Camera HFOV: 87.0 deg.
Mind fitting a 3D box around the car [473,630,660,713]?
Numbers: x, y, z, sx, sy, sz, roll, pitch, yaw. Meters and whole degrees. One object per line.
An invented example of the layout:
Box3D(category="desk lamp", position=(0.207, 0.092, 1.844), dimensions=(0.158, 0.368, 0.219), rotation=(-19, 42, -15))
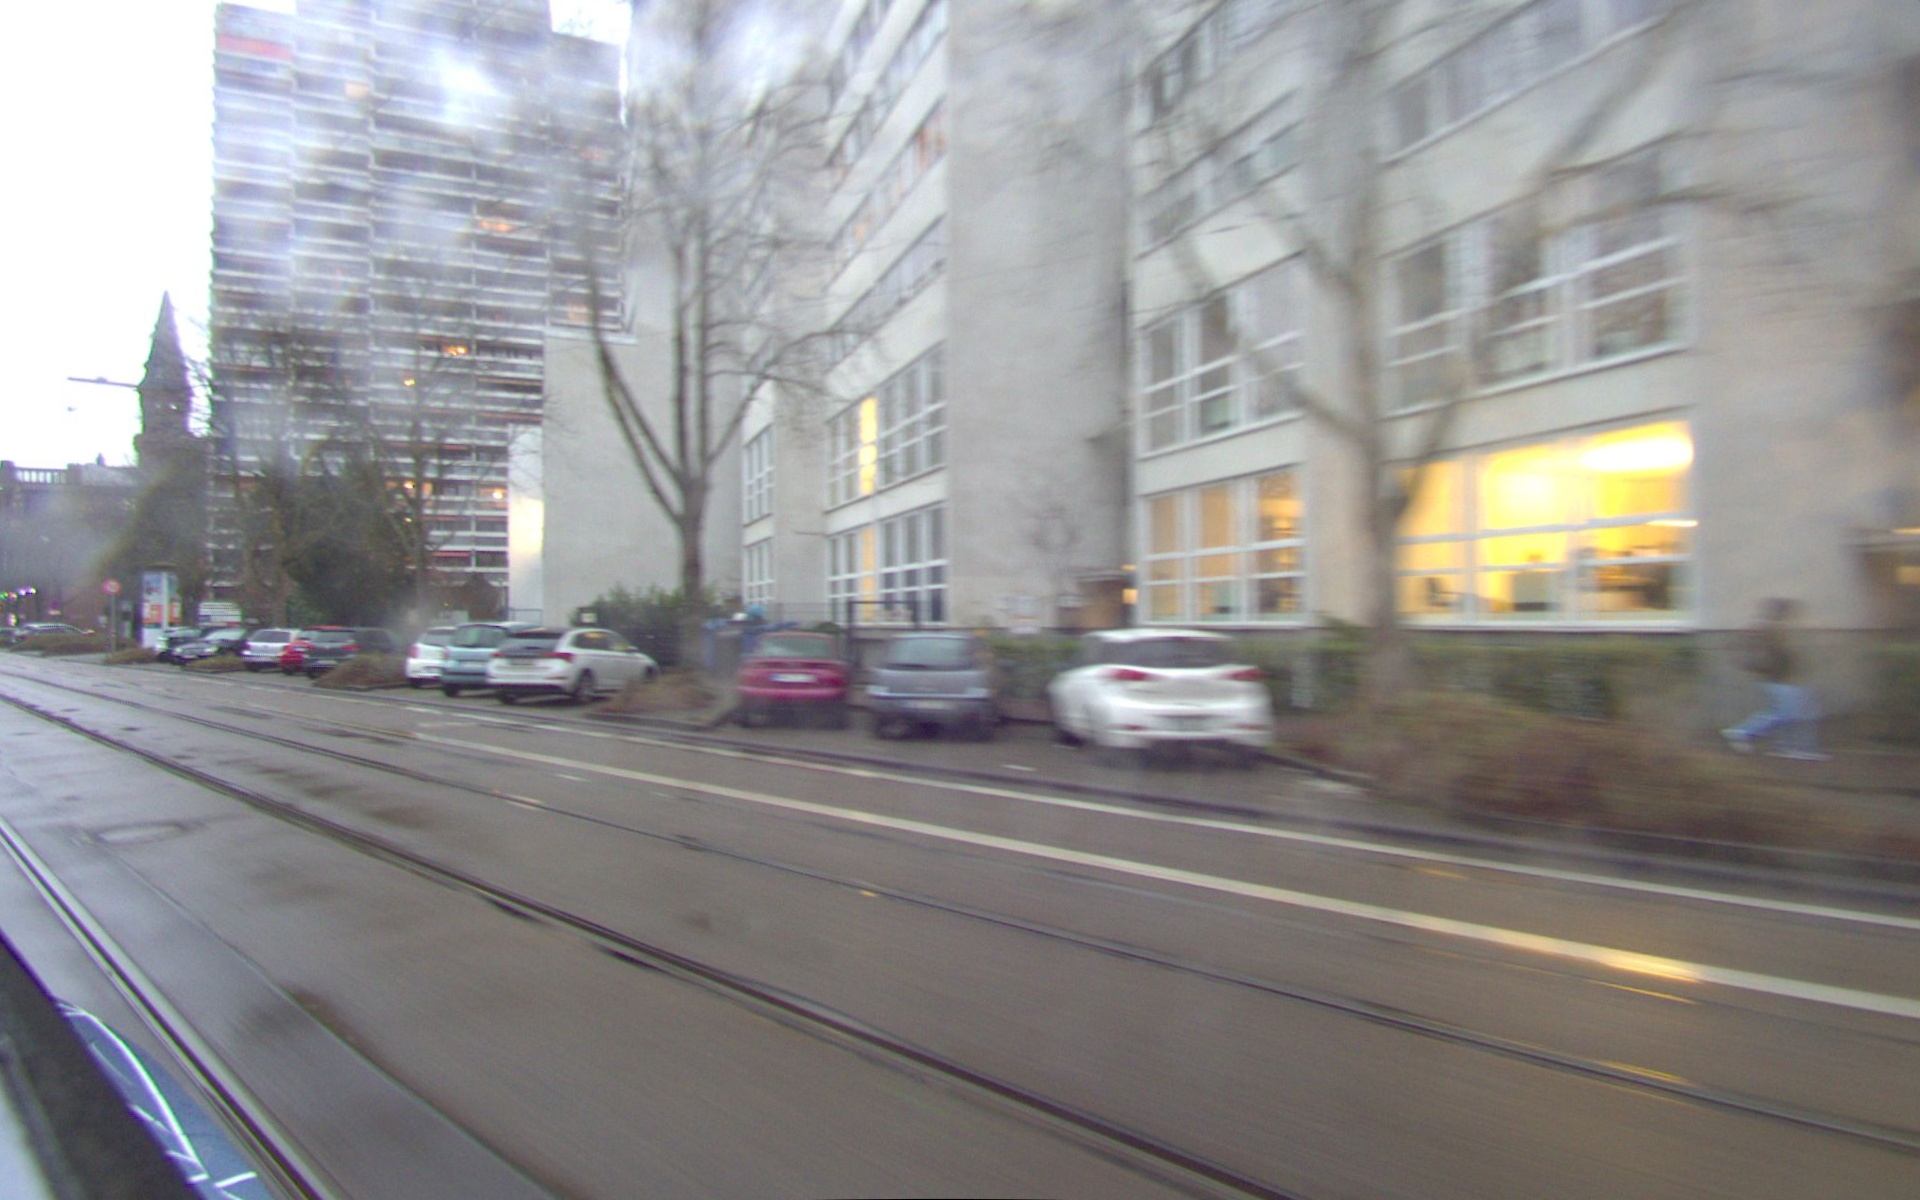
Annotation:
Box3D(category="car", position=(-7.619, 1.343, 20.056), dimensions=(1.716, 1.455, 3.990), rotation=(0, -2, 8))

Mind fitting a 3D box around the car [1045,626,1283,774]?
Box3D(category="car", position=(2.182, 1.056, 11.924), dimensions=(1.710, 1.434, 3.856), rotation=(0, -2, -5))

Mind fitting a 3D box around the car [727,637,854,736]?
Box3D(category="car", position=(-2.619, 1.294, 16.208), dimensions=(1.722, 1.362, 4.354), rotation=(1, -2, -7))

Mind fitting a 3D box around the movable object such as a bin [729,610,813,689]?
Box3D(category="movable object such as a bin", position=(-4.646, 1.213, 24.911), dimensions=(1.317, 1.874, 1.553), rotation=(-4, -4, 42))

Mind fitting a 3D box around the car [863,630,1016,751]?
Box3D(category="car", position=(-0.151, 1.197, 14.622), dimensions=(1.715, 1.474, 3.992), rotation=(0, -2, 6))

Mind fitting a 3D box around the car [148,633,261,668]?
Box3D(category="car", position=(-31.828, 2.119, 42.767), dimensions=(1.829, 1.410, 4.000), rotation=(-1, -2, -1))

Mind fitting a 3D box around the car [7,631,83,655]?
Box3D(category="car", position=(-65.094, 3.065, 72.022), dimensions=(3.939, 1.652, 2.002), rotation=(1, -3, -43))

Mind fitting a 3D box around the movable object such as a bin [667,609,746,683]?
Box3D(category="movable object such as a bin", position=(-6.704, 1.226, 26.783), dimensions=(1.317, 1.874, 1.553), rotation=(-4, -4, 42))

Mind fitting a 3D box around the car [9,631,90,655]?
Box3D(category="car", position=(-60.409, 2.838, 67.174), dimensions=(3.939, 1.497, 1.674), rotation=(1, -3, -43))

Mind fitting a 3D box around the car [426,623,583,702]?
Box3D(category="car", position=(-9.881, 1.329, 22.312), dimensions=(1.712, 1.575, 4.000), rotation=(-1, -2, -1))

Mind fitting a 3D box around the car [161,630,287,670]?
Box3D(category="car", position=(-27.235, 1.834, 37.617), dimensions=(1.829, 1.389, 4.000), rotation=(-1, -2, -1))

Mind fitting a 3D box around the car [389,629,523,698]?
Box3D(category="car", position=(-12.537, 1.550, 25.443), dimensions=(1.668, 1.563, 3.879), rotation=(-1, -2, -4))

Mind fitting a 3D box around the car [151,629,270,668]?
Box3D(category="car", position=(-29.860, 1.913, 40.496), dimensions=(1.829, 1.474, 4.000), rotation=(-1, -2, -1))

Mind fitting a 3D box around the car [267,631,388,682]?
Box3D(category="car", position=(-19.881, 1.767, 31.978), dimensions=(1.705, 1.504, 3.451), rotation=(-1, -2, -1))

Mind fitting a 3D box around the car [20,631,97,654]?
Box3D(category="car", position=(-62.567, 2.939, 70.266), dimensions=(3.939, 1.497, 1.674), rotation=(1, -3, -43))

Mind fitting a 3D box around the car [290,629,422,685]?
Box3D(category="car", position=(-17.461, 1.636, 29.458), dimensions=(1.671, 1.504, 3.855), rotation=(-1, -2, -3))

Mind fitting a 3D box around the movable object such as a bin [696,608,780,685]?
Box3D(category="movable object such as a bin", position=(-5.665, 1.190, 25.847), dimensions=(1.393, 1.874, 1.553), rotation=(-4, -4, 42))

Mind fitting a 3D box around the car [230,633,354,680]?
Box3D(category="car", position=(-22.241, 1.857, 33.902), dimensions=(1.765, 1.457, 4.004), rotation=(0, -2, -5))

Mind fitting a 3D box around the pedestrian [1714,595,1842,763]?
Box3D(category="pedestrian", position=(8.668, 0.813, 10.741), dimensions=(0.973, 1.690, 0.590), rotation=(-3, -3, 41))
